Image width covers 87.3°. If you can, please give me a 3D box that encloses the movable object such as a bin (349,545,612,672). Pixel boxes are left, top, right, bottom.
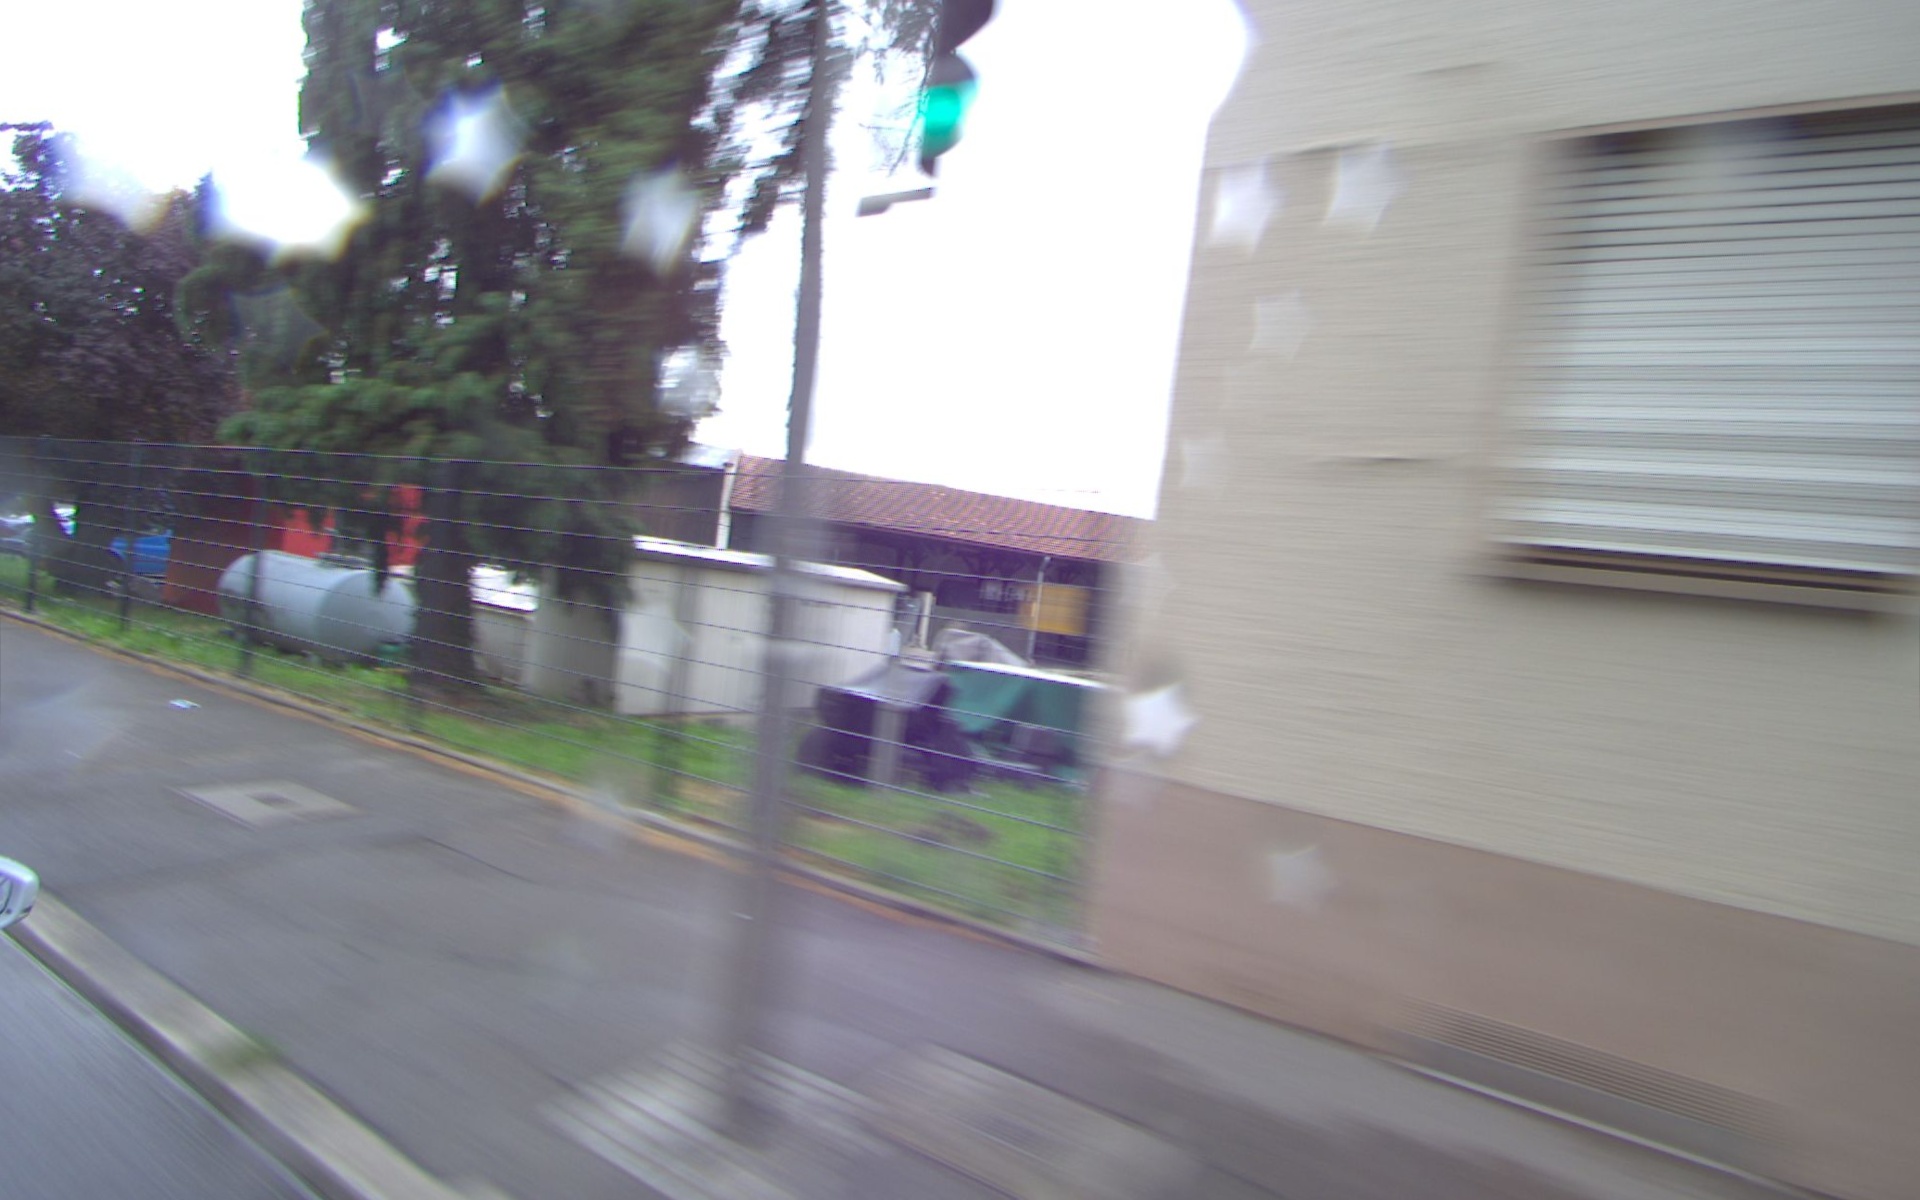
[{"bbox_3d":[-7.804,0.199,16.661,1.859,1.595,3.339,7,-2,29],"label":"movable object such as a bin"}]

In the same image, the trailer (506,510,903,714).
[{"bbox_3d":[-3.235,0.350,14.172,2.012,2.211,5.433,6,-3,30],"label":"trailer"}]

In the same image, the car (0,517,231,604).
[{"bbox_3d":[-20.510,-0.925,24.214,1.764,1.549,4.387,6,-1,30],"label":"car"}]

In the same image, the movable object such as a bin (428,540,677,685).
[{"bbox_3d":[-6.098,0.235,15.247,2.048,1.736,2.624,7,-2,29],"label":"movable object such as a bin"}]

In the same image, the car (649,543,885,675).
[{"bbox_3d":[-3.855,0.294,21.031,1.967,2.298,4.828,6,-1,31],"label":"car"}]

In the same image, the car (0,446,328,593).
[{"bbox_3d":[-17.684,-1.656,22.463,1.966,2.236,5.581,7,-2,30],"label":"car"}]

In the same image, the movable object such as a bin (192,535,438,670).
[{"bbox_3d":[-8.513,0.029,13.272,2.809,1.335,1.374,7,-1,27],"label":"movable object such as a bin"}]

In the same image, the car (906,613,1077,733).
[{"bbox_3d":[0.653,1.356,18.119,1.531,1.834,3.127,5,-3,33],"label":"car"}]

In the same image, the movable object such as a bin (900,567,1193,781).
[{"bbox_3d":[1.119,0.908,13.023,3.043,2.268,1.906,5,-2,33],"label":"movable object such as a bin"}]

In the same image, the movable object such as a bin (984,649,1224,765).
[{"bbox_3d":[2.256,1.645,15.745,3.100,1.311,1.935,5,-3,32],"label":"movable object such as a bin"}]

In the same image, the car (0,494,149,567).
[{"bbox_3d":[-24.666,-1.921,27.063,1.756,1.439,3.994,5,-3,32],"label":"car"}]

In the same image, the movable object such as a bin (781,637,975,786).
[{"bbox_3d":[-0.781,1.108,9.927,1.197,1.193,1.332,8,-3,31],"label":"movable object such as a bin"}]
